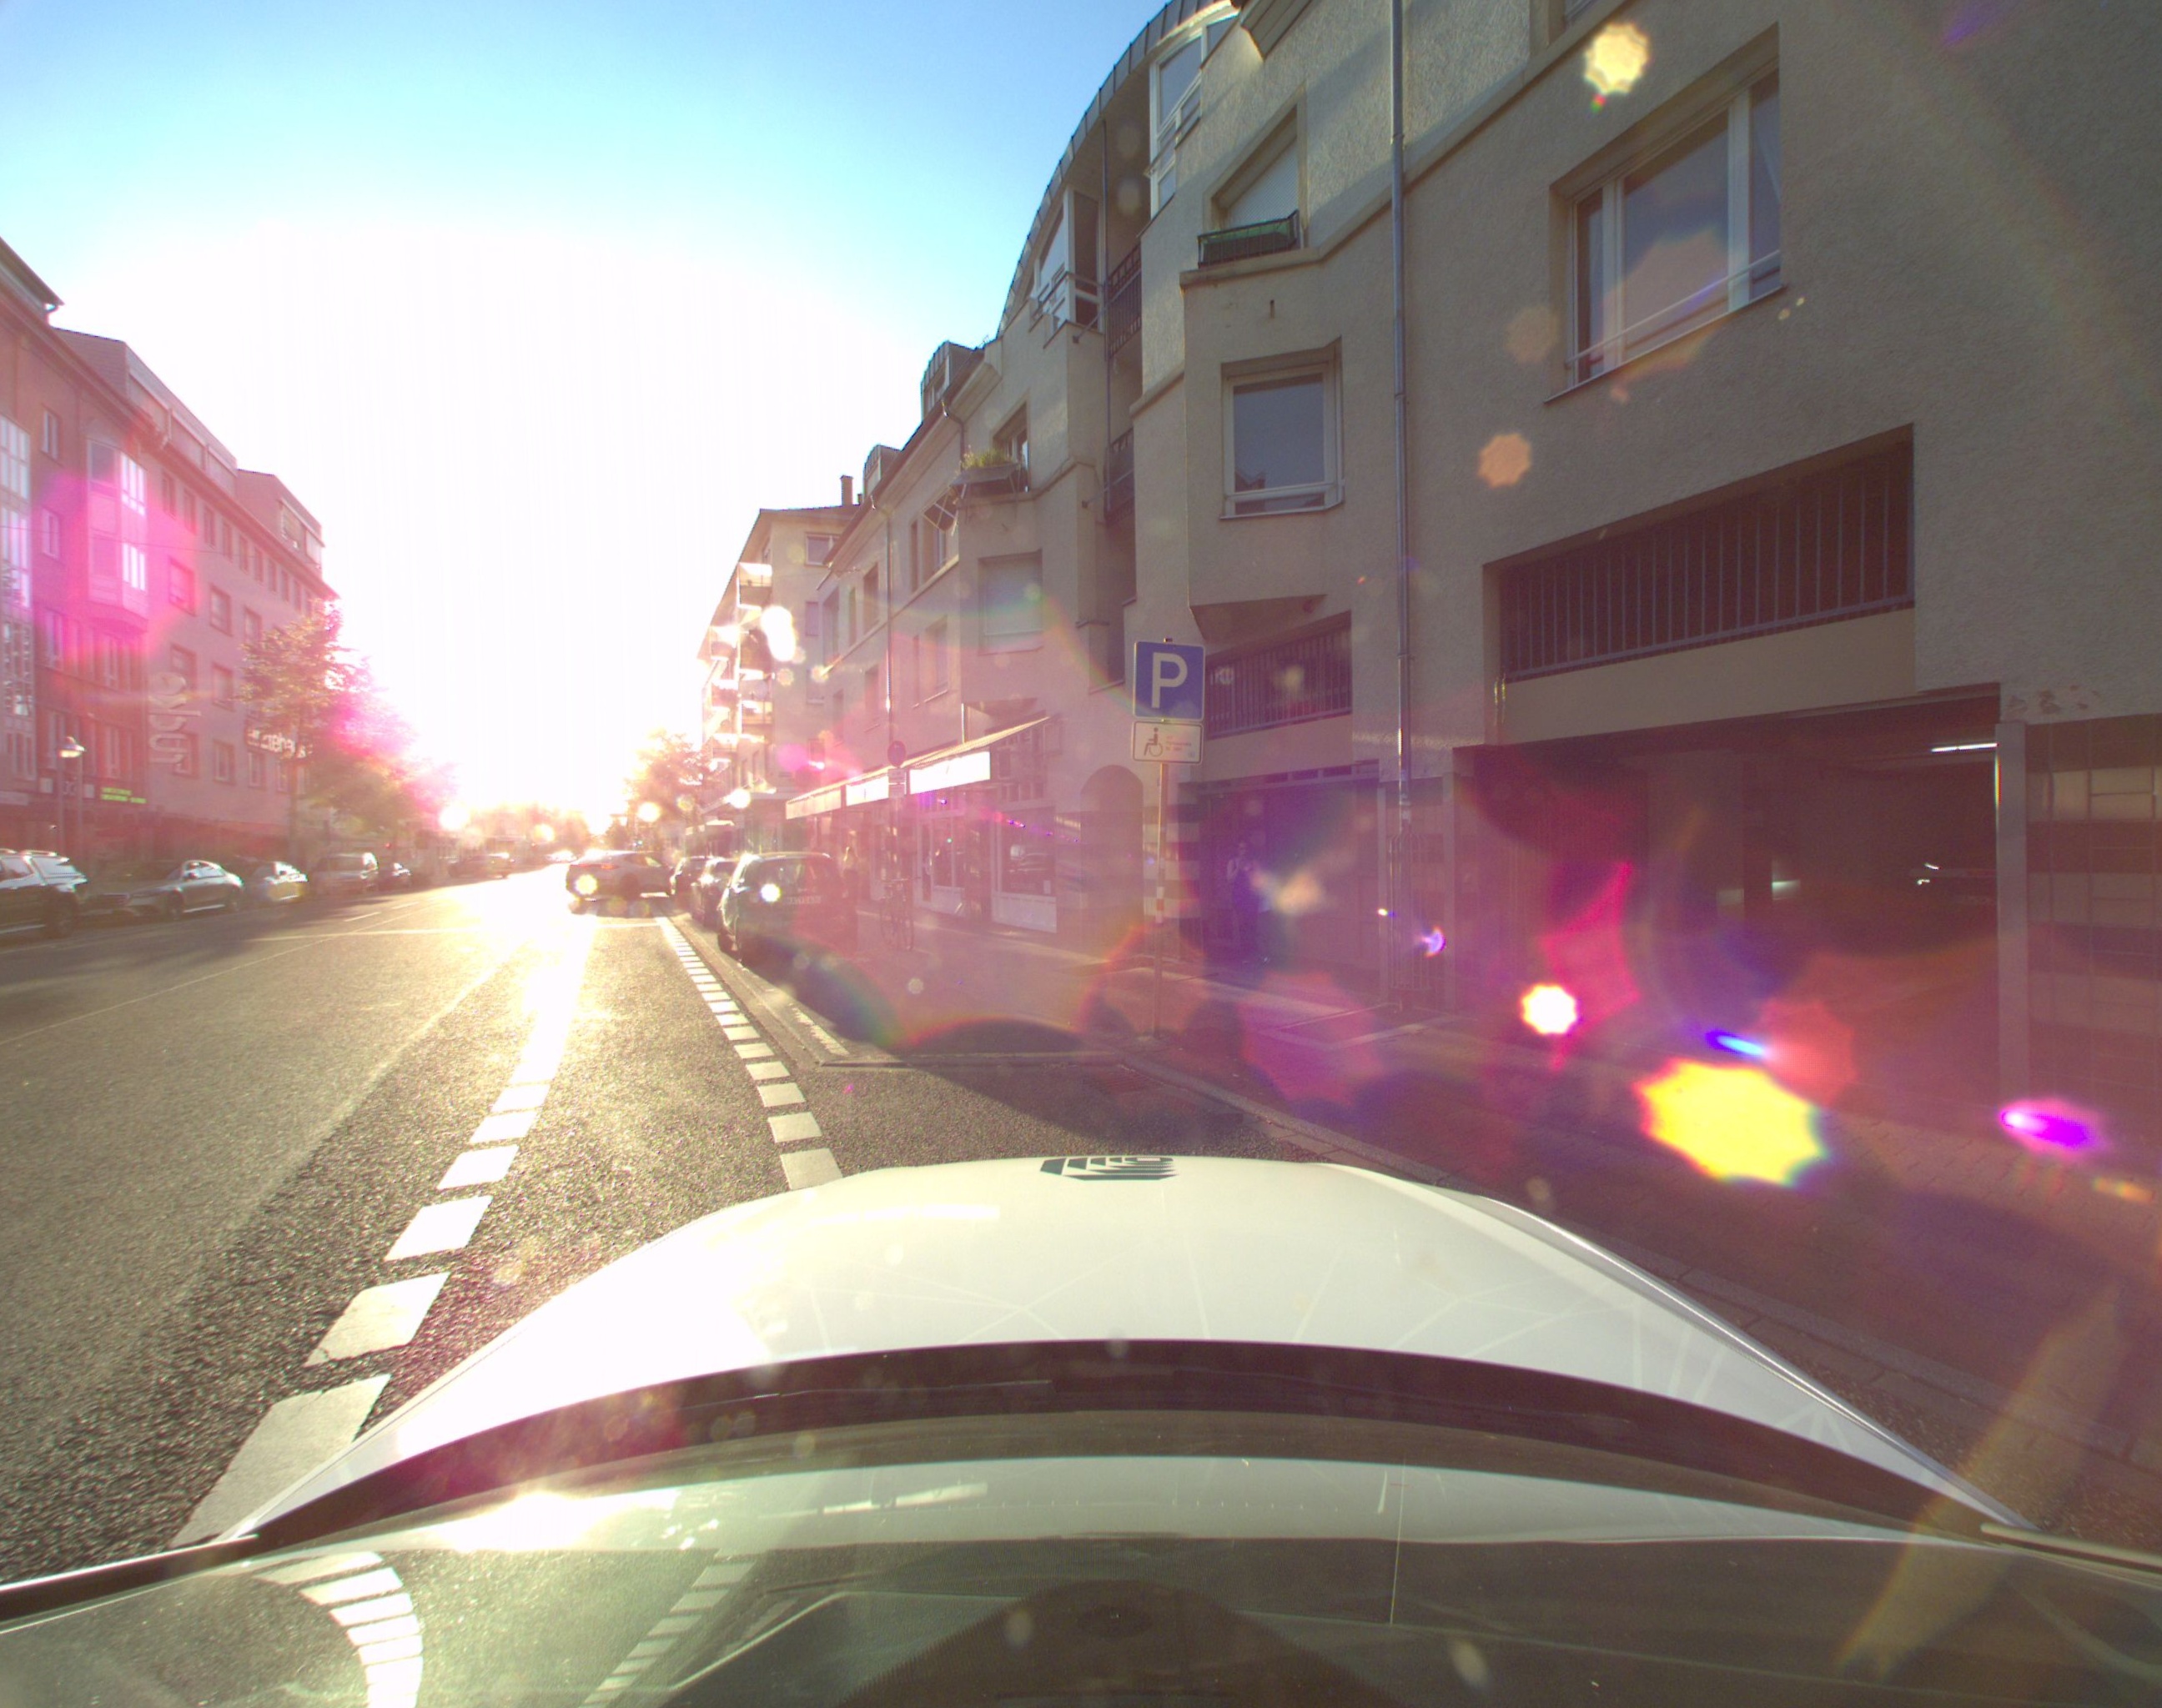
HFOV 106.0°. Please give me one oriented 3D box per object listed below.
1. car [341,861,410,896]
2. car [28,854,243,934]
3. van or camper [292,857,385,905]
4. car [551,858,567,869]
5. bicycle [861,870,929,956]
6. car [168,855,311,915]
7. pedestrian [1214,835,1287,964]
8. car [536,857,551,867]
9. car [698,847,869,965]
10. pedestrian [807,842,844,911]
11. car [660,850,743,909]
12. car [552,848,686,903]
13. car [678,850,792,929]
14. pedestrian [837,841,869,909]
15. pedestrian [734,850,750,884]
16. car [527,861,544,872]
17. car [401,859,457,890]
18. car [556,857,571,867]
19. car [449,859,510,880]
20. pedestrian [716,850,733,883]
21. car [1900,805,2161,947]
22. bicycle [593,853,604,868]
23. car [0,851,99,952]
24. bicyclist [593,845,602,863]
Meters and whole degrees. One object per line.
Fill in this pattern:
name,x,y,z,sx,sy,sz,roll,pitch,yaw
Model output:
car,-33.590,1.131,38.858,1.700,1.502,3.752,-1,1,-29
car,-23.272,0.875,20.338,2.006,1.655,4.584,-2,1,-29
van or camper,-30.776,1.056,33.908,1.799,1.773,4.516,-1,1,-29
car,-77.364,1.411,120.766,1.700,1.502,3.752,-1,1,-29
bicycle,-2.971,0.879,12.867,0.561,1.206,1.960,-1,1,-28
car,-26.119,0.884,25.487,2.007,1.655,4.436,-1,1,-31
pedestrian,2.125,0.551,10.251,0.774,1.572,0.533,-1,0,-3
car,-83.535,1.268,126.578,1.700,1.502,3.752,-1,1,-29
car,-4.932,0.699,13.184,1.801,1.580,3.927,-1,1,-32
pedestrian,-6.506,0.552,20.718,0.634,1.700,1.030,-2,1,-31
car,-11.496,0.701,24.577,1.801,1.580,3.749,-1,1,-32
car,-15.488,0.674,27.606,1.865,1.697,4.325,1,0,3
car,-7.963,0.712,18.561,1.801,1.580,3.749,-1,1,-32
pedestrian,-5.862,0.536,20.940,0.563,1.700,0.823,-2,1,-31
pedestrian,-18.239,0.708,43.815,0.722,1.791,0.660,-2,1,-30
car,-79.784,1.817,119.074,1.700,1.502,3.752,-1,1,-29
car,-35.169,1.082,44.024,1.700,1.502,3.752,-1,1,-29
car,-80.917,1.257,127.338,1.700,1.502,3.752,-1,1,-29
car,-42.836,1.076,57.987,3.618,1.412,1.642,1,0,17
pedestrian,-19.355,0.665,44.185,0.722,1.791,0.660,-2,1,-30
car,13.219,0.191,10.796,4.254,1.573,1.806,-2,0,-22
bicycle,-42.196,0.562,71.208,0.667,1.243,2.111,1,0,-27
car,-20.263,0.873,14.455,2.007,1.777,5.265,-2,1,-32
bicyclist,-42.201,-0.010,71.080,0.550,1.580,0.796,-2,1,-27
